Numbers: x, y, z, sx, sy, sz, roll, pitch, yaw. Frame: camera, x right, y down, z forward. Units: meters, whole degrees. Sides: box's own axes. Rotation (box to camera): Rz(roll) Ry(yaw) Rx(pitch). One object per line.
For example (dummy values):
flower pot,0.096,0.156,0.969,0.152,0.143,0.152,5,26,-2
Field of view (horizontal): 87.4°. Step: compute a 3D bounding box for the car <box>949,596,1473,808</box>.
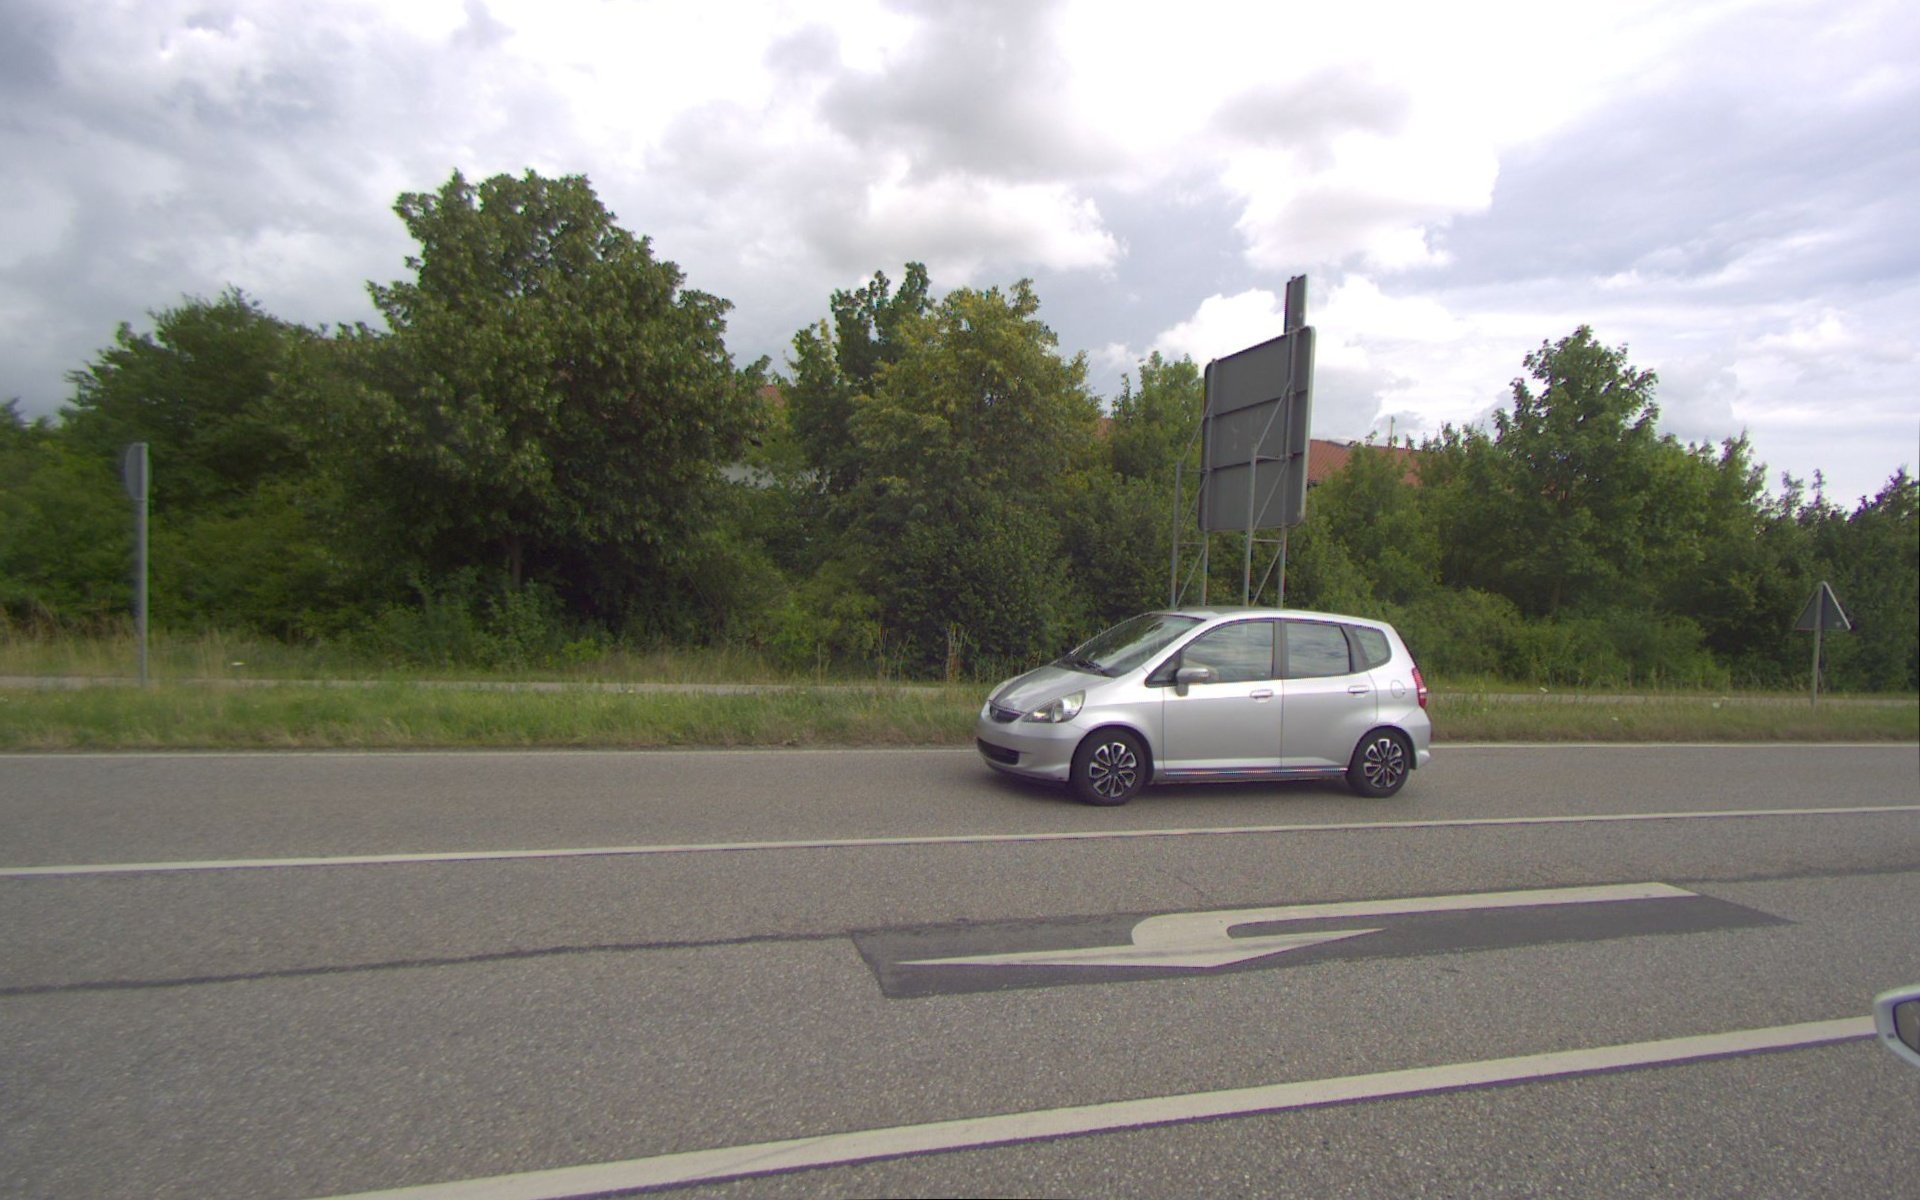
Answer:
car,2.025,0.769,8.345,3.872,1.450,1.728,2,0,-18
